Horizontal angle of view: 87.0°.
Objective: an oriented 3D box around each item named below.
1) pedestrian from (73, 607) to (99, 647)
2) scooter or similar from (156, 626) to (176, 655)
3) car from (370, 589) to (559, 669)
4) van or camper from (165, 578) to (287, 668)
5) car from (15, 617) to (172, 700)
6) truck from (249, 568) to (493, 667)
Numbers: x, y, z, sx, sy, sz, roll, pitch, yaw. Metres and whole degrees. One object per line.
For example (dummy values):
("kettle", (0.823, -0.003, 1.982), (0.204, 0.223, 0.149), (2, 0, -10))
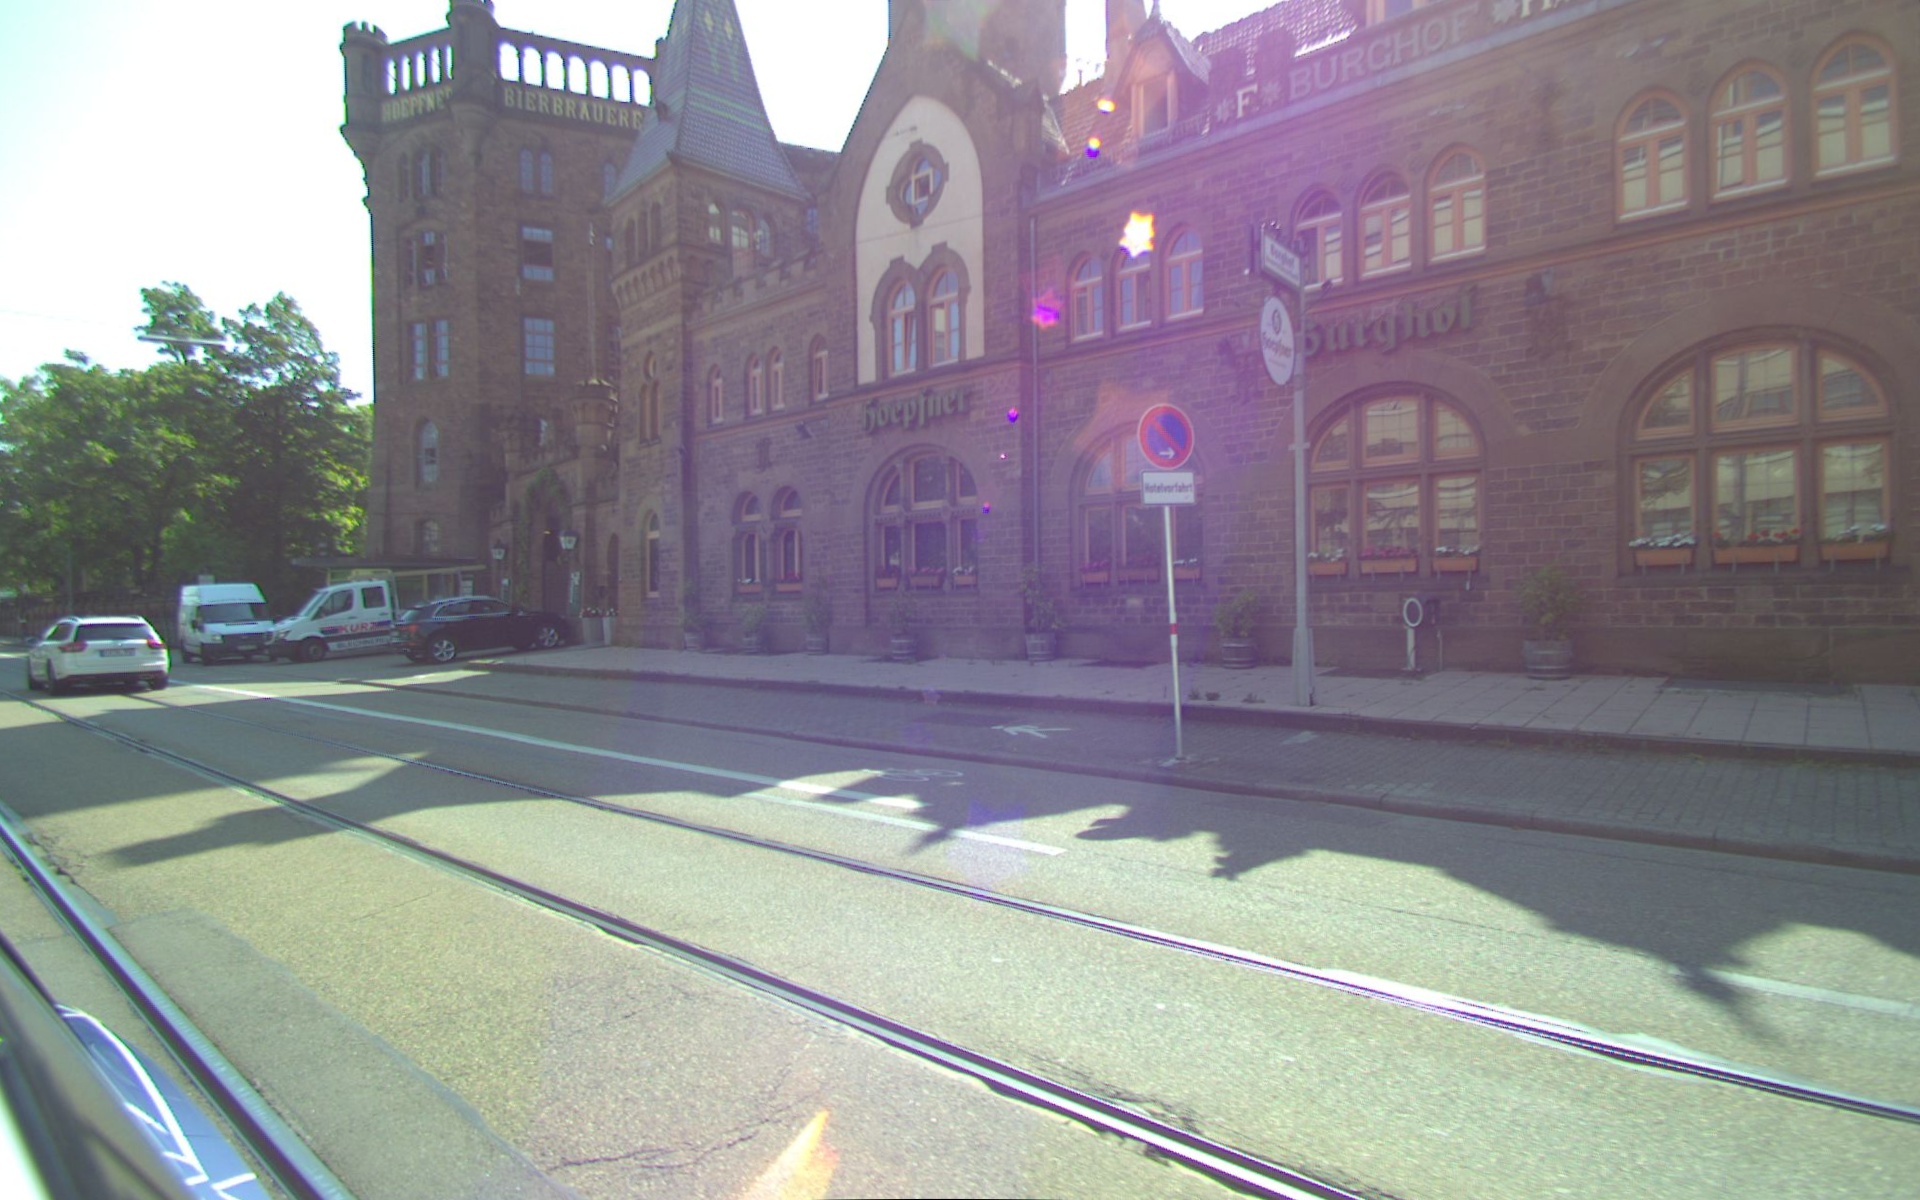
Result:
("pedestrian", (-45.835, 1.416, 53.093), (0.982, 2.029, 0.855), (-2, 0, 39))
("scooter or similar", (-33.594, 1.706, 42.827), (0.334, 1.187, 1.182), (-1, 0, -23))
("car", (-13.361, 0.729, 27.452), (2.000, 1.756, 4.093), (-2, 3, 42))
("van or camper", (-24.096, 0.739, 33.124), (5.955, 2.695, 2.090), (-2, 0, 43))
("car", (-17.802, 1.128, 20.711), (4.866, 1.503, 1.827), (-2, -2, 42))
("truck", (-18.539, 0.490, 32.137), (6.249, 2.557, 2.132), (-5, 1, -44))
